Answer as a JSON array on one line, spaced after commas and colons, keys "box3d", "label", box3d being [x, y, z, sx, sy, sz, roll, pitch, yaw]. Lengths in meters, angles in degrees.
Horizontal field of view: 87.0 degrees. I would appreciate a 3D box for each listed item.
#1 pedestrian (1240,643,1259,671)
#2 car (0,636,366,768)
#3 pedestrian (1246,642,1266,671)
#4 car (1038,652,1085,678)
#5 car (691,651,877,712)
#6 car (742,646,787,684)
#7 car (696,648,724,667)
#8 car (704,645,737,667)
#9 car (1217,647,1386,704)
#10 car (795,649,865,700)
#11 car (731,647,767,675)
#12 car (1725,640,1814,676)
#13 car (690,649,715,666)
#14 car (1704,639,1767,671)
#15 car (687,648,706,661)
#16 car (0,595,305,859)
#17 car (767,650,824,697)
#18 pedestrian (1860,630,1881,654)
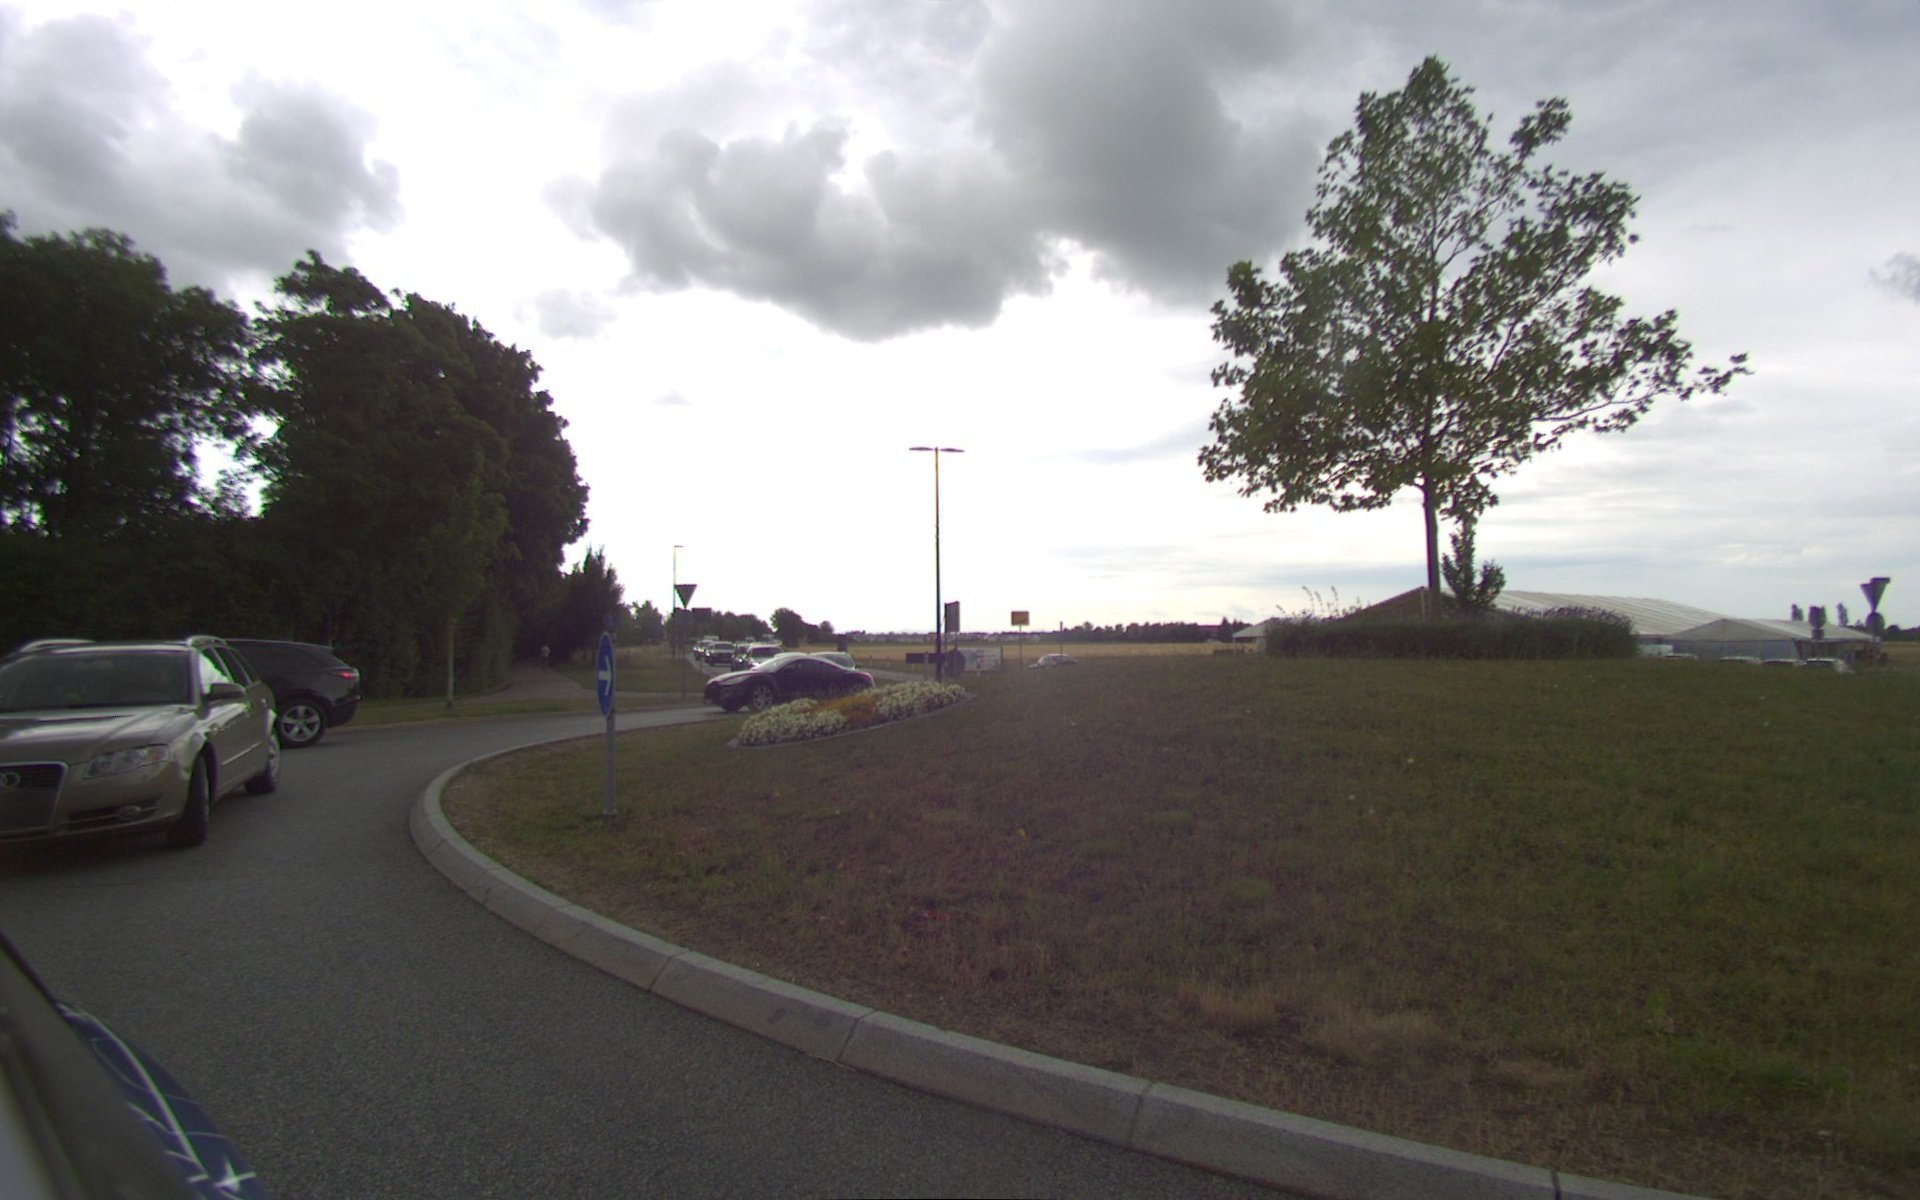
[{"box3d": [19.941, 3.911, 69.749, 0.939, 1.915, 0.851, -1, -2, -10], "label": "pedestrian"}, {"box3d": [-11.342, 1.368, 14.464, 1.992, 1.586, 4.539, -4, -4, 30], "label": "car"}, {"box3d": [20.127, 3.827, 68.794, 0.939, 1.915, 0.851, -1, -2, -10], "label": "pedestrian"}, {"box3d": [5.684, 3.654, 56.925, 1.753, 1.328, 3.817, 0, -2, -8], "label": "car"}, {"box3d": [-4.217, 1.920, 24.438, 4.046, 1.317, 1.835, 2, -4, -36], "label": "car"}, {"box3d": [-8.843, 2.876, 45.546, 1.752, 1.510, 3.820, -1, -1, -14], "label": "car"}, {"box3d": [-19.157, 4.401, 77.460, 1.751, 1.328, 3.822, -1, -2, -19], "label": "car"}, {"box3d": [-15.976, 3.682, 67.503, 1.751, 1.328, 3.822, -1, -2, -19], "label": "car"}, {"box3d": [9.098, 1.998, 27.277, 4.037, 1.441, 1.757, -1, -2, 10], "label": "car"}, {"box3d": [-4.115, 2.333, 31.597, 1.811, 1.469, 4.145, 0, -4, -12], "label": "car"}, {"box3d": [-11.626, 3.320, 55.577, 1.752, 1.328, 3.820, -1, -1, -14], "label": "car"}, {"box3d": [38.482, 2.744, 48.227, 1.618, 1.619, 3.863, -1, -2, 10], "label": "car"}, {"box3d": [-22.142, 4.910, 86.907, 1.751, 1.328, 3.822, -1, -2, -19], "label": "car"}, {"box3d": [41.421, 2.904, 54.034, 3.768, 1.619, 1.838, 1, -3, -39], "label": "car"}, {"box3d": [-29.284, 6.021, 112.276, 1.751, 1.328, 3.822, -1, -2, -19], "label": "car"}, {"box3d": [-6.512, 0.887, 7.815, 1.752, 1.476, 4.555, -2, -3, -24], "label": "car"}, {"box3d": [-6.107, 2.649, 37.263, 1.752, 1.510, 3.820, -1, -1, -14], "label": "car"}, {"box3d": [77.313, 3.562, 85.890, 1.043, 2.029, 1.054, 1, -2, -35], "label": "pedestrian"}]
